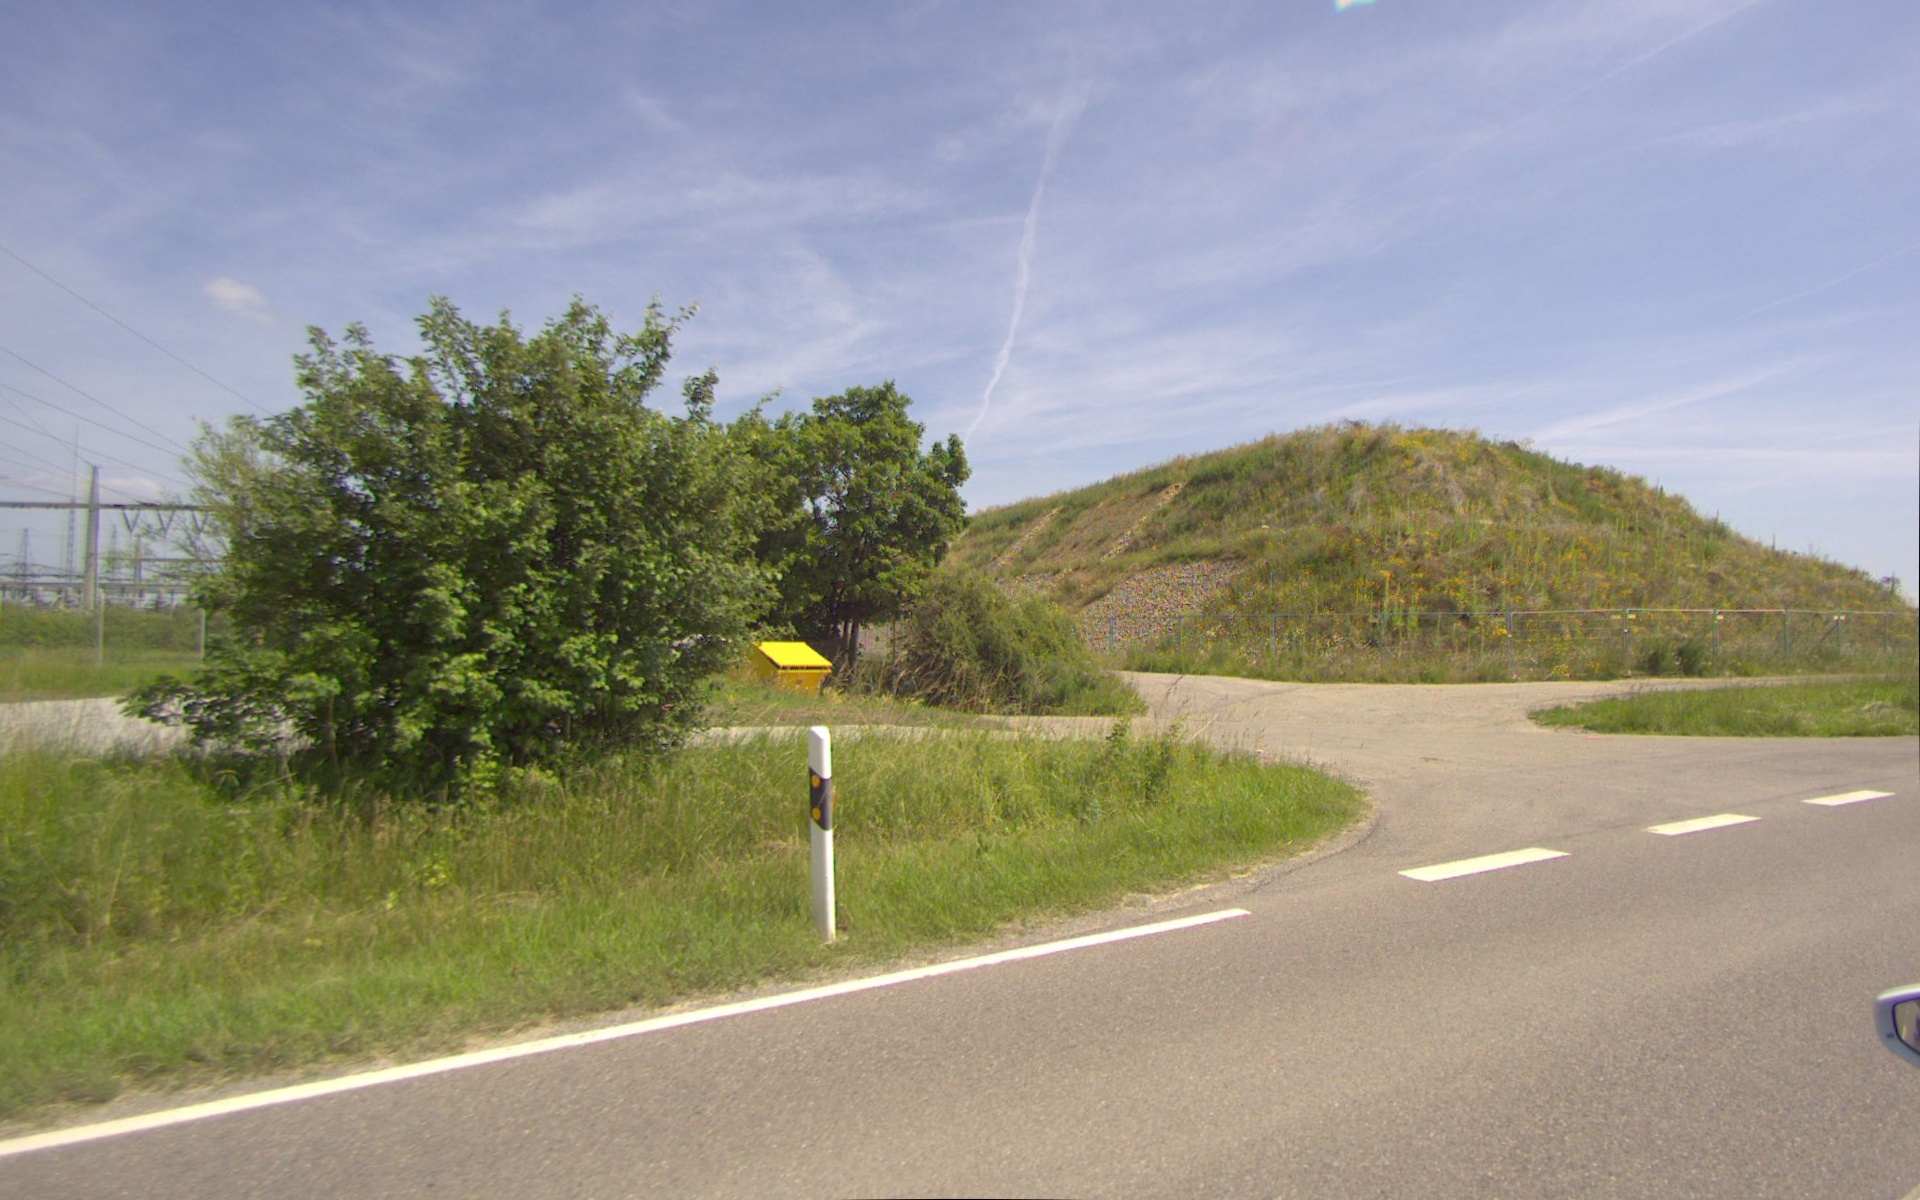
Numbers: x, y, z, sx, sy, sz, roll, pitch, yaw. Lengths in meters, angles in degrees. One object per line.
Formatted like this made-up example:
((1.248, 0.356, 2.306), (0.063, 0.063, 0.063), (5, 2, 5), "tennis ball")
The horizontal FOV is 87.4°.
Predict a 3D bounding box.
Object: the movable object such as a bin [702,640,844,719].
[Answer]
((-5.540, 2.249, 29.450), (2.157, 1.940, 4.236), (2, 0, -43), "movable object such as a bin")
